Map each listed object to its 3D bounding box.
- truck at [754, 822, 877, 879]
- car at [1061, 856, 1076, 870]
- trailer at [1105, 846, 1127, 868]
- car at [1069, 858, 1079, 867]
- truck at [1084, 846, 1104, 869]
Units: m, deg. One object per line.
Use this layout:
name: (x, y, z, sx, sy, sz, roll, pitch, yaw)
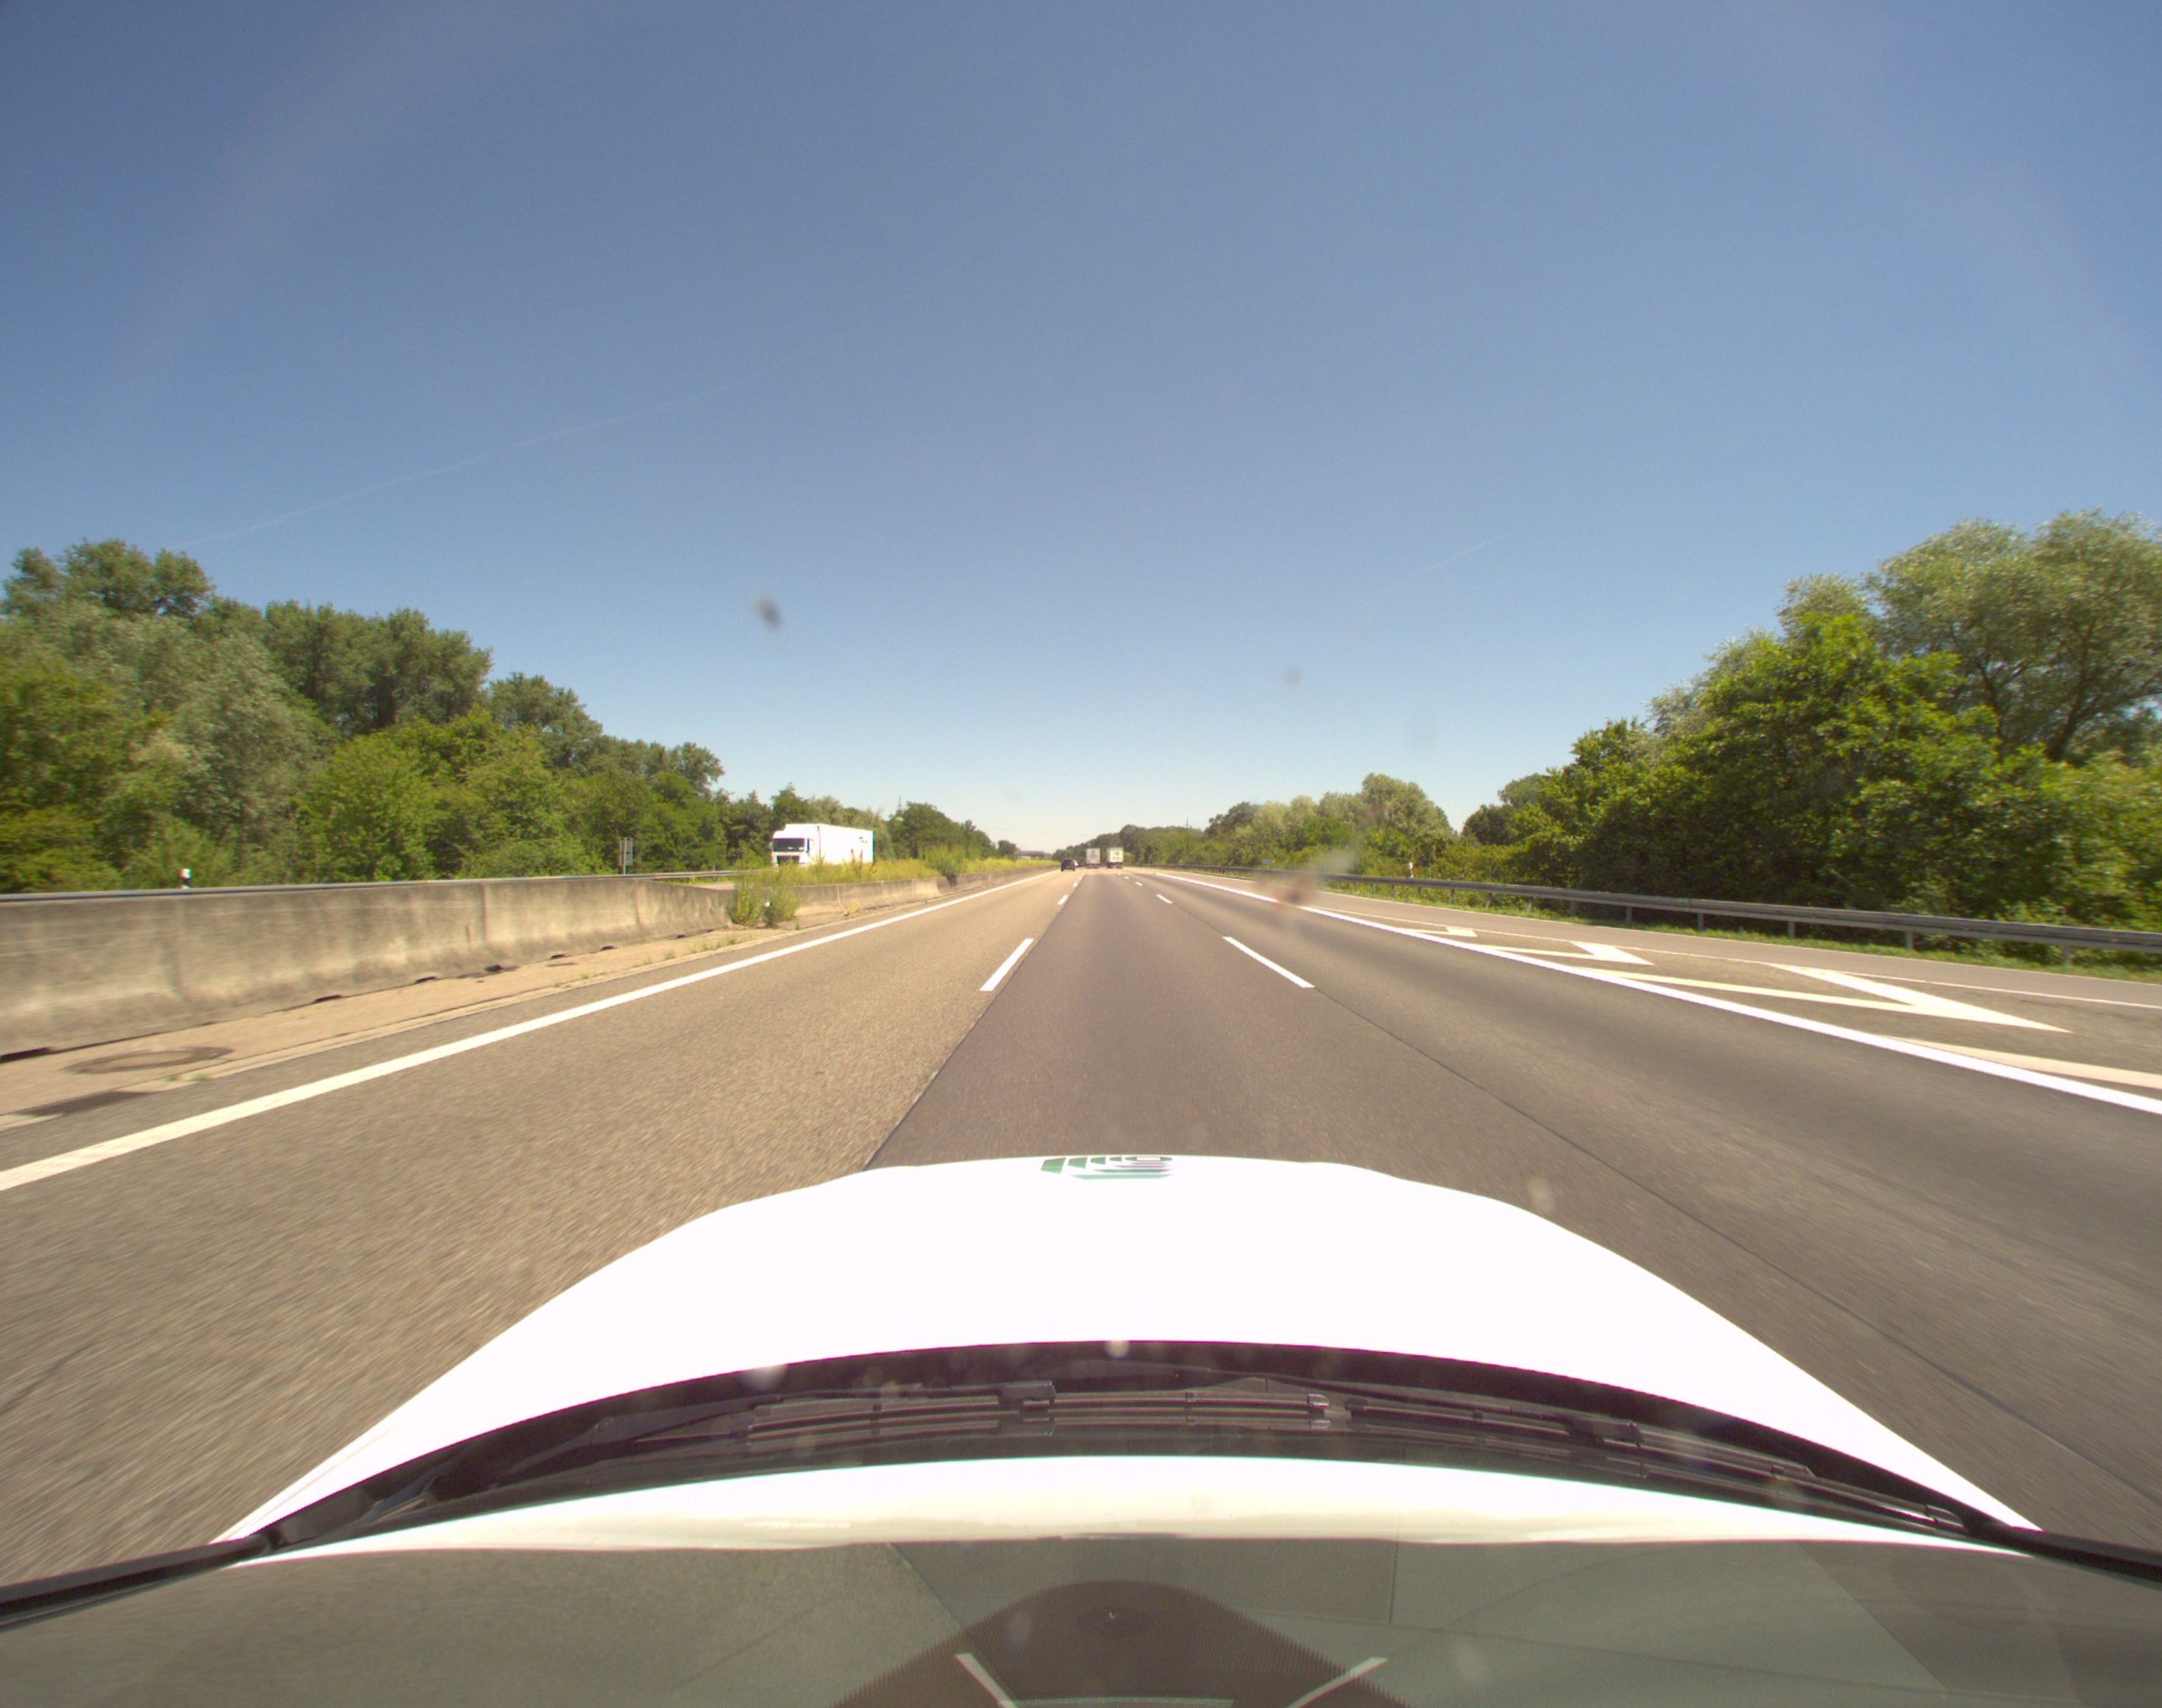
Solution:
truck: (-19.744, -0.208, 62.514, 3.586, 3.735, 17.483, 0, 0, 0)
car: (-1.704, 1.288, 114.471, 1.986, 1.874, 4.001, 0, 0, 1)
trailer: (6.744, 0.623, 157.059, 3.361, 4.142, 9.079, 0, 0, -4)
car: (-1.465, 1.760, 166.617, 1.988, 1.874, 3.997, 0, 0, -2)
truck: (2.371, 0.743, 153.757, 3.222, 4.202, 8.456, 0, 0, -3)
